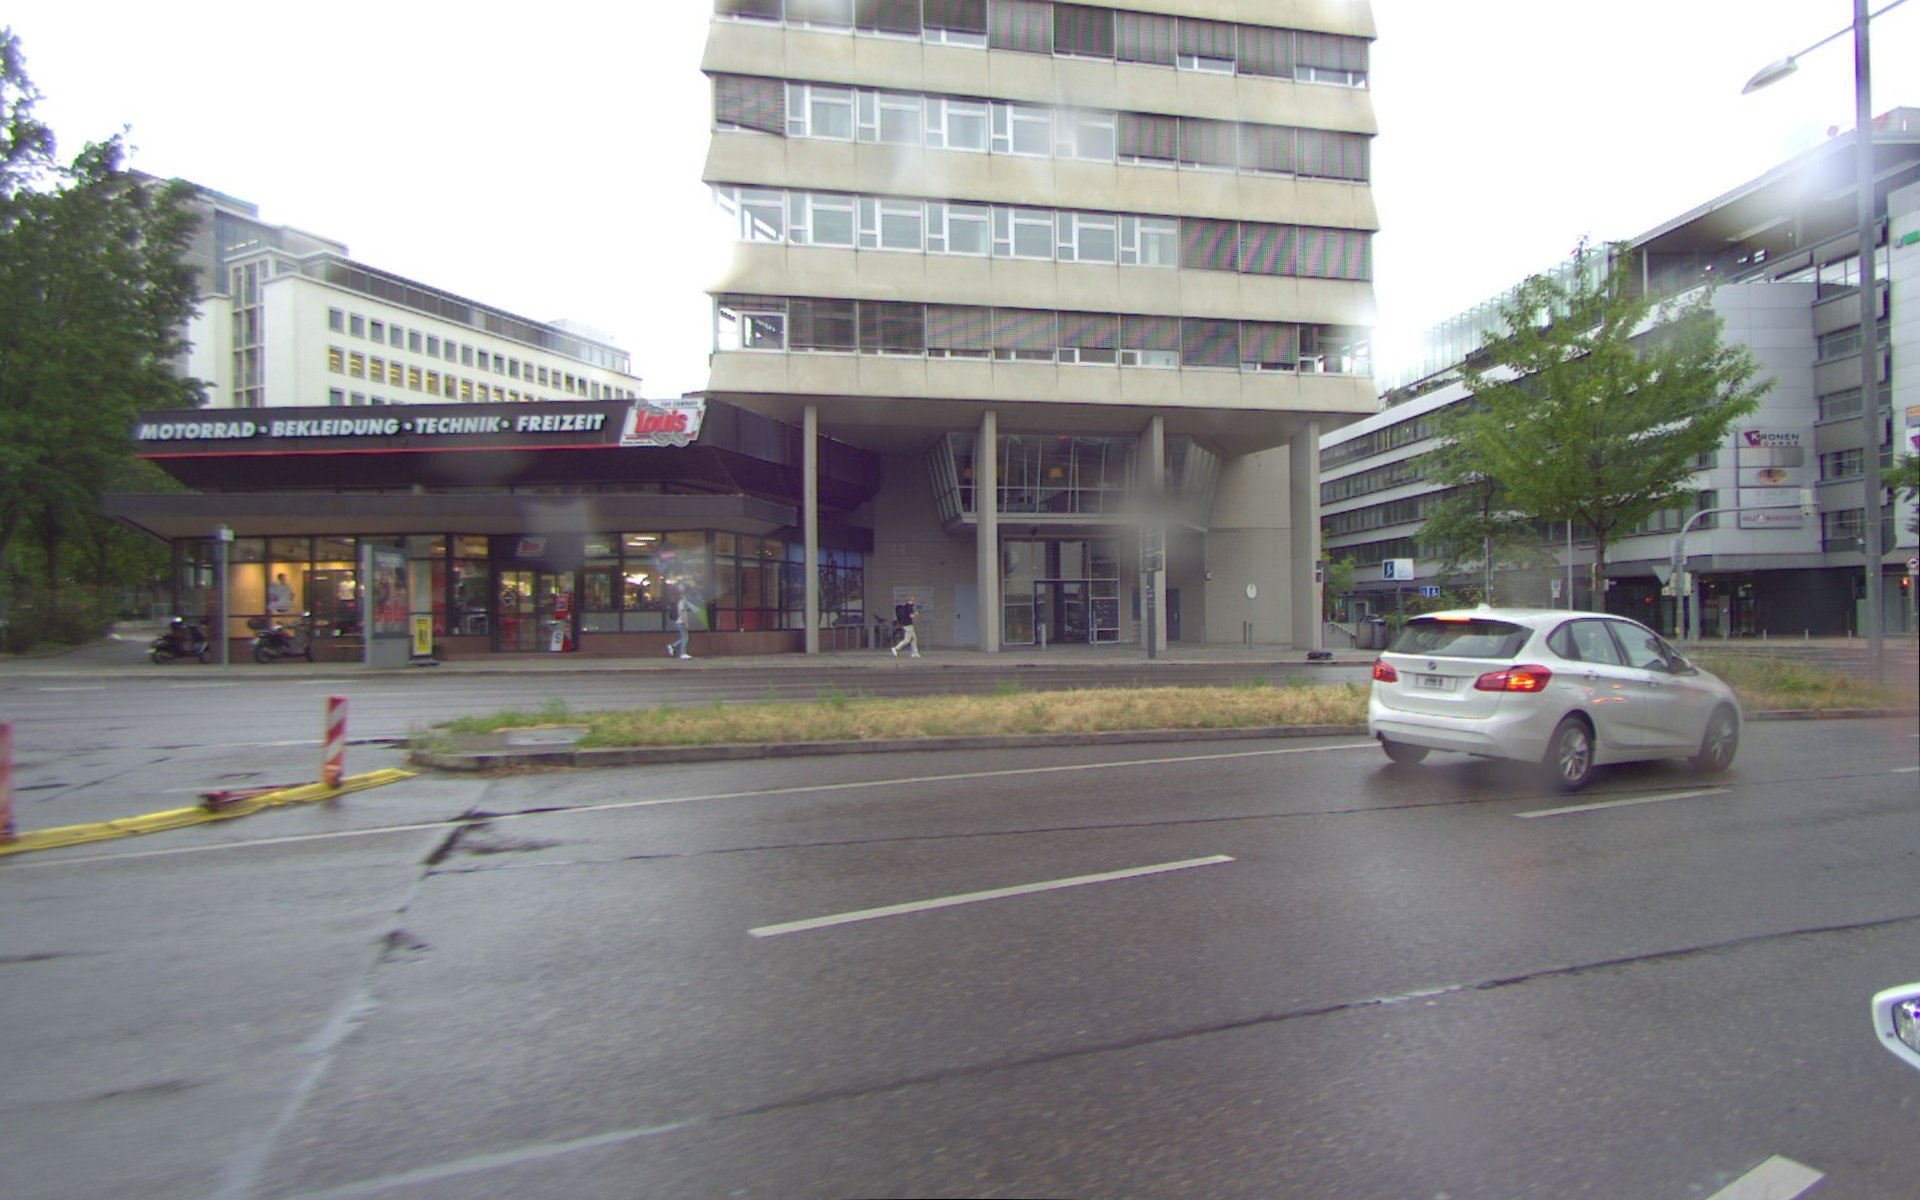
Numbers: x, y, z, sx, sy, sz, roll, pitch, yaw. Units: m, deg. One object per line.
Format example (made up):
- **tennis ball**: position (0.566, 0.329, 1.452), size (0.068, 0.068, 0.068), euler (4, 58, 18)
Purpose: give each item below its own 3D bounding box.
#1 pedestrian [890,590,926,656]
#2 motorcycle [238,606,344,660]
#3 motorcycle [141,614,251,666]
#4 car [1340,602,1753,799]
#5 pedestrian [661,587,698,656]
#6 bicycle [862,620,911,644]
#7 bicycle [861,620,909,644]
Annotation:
- **pedestrian**: position (-1.511, 0.654, 28.859), size (0.908, 1.857, 0.728), euler (1, -1, -12)
- **motorcycle**: position (-18.515, 0.882, 27.906), size (0.788, 1.392, 2.894), euler (1, 0, 5)
- **motorcycle**: position (-21.443, 1.092, 28.296), size (0.709, 1.351, 2.822), euler (1, 0, 6)
- **car**: position (5.913, 0.847, 10.007), size (4.238, 1.594, 1.774), euler (1, -1, -31)
- **pedestrian**: position (-7.718, 0.590, 27.680), size (0.908, 1.857, 0.818), euler (0, 0, -11)
- **bicycle**: position (-2.668, 1.168, 36.373), size (1.742, 0.823, 0.454), euler (1, 0, -10)
- **bicycle**: position (-2.760, 1.170, 36.957), size (1.742, 0.823, 0.454), euler (1, 0, -10)
